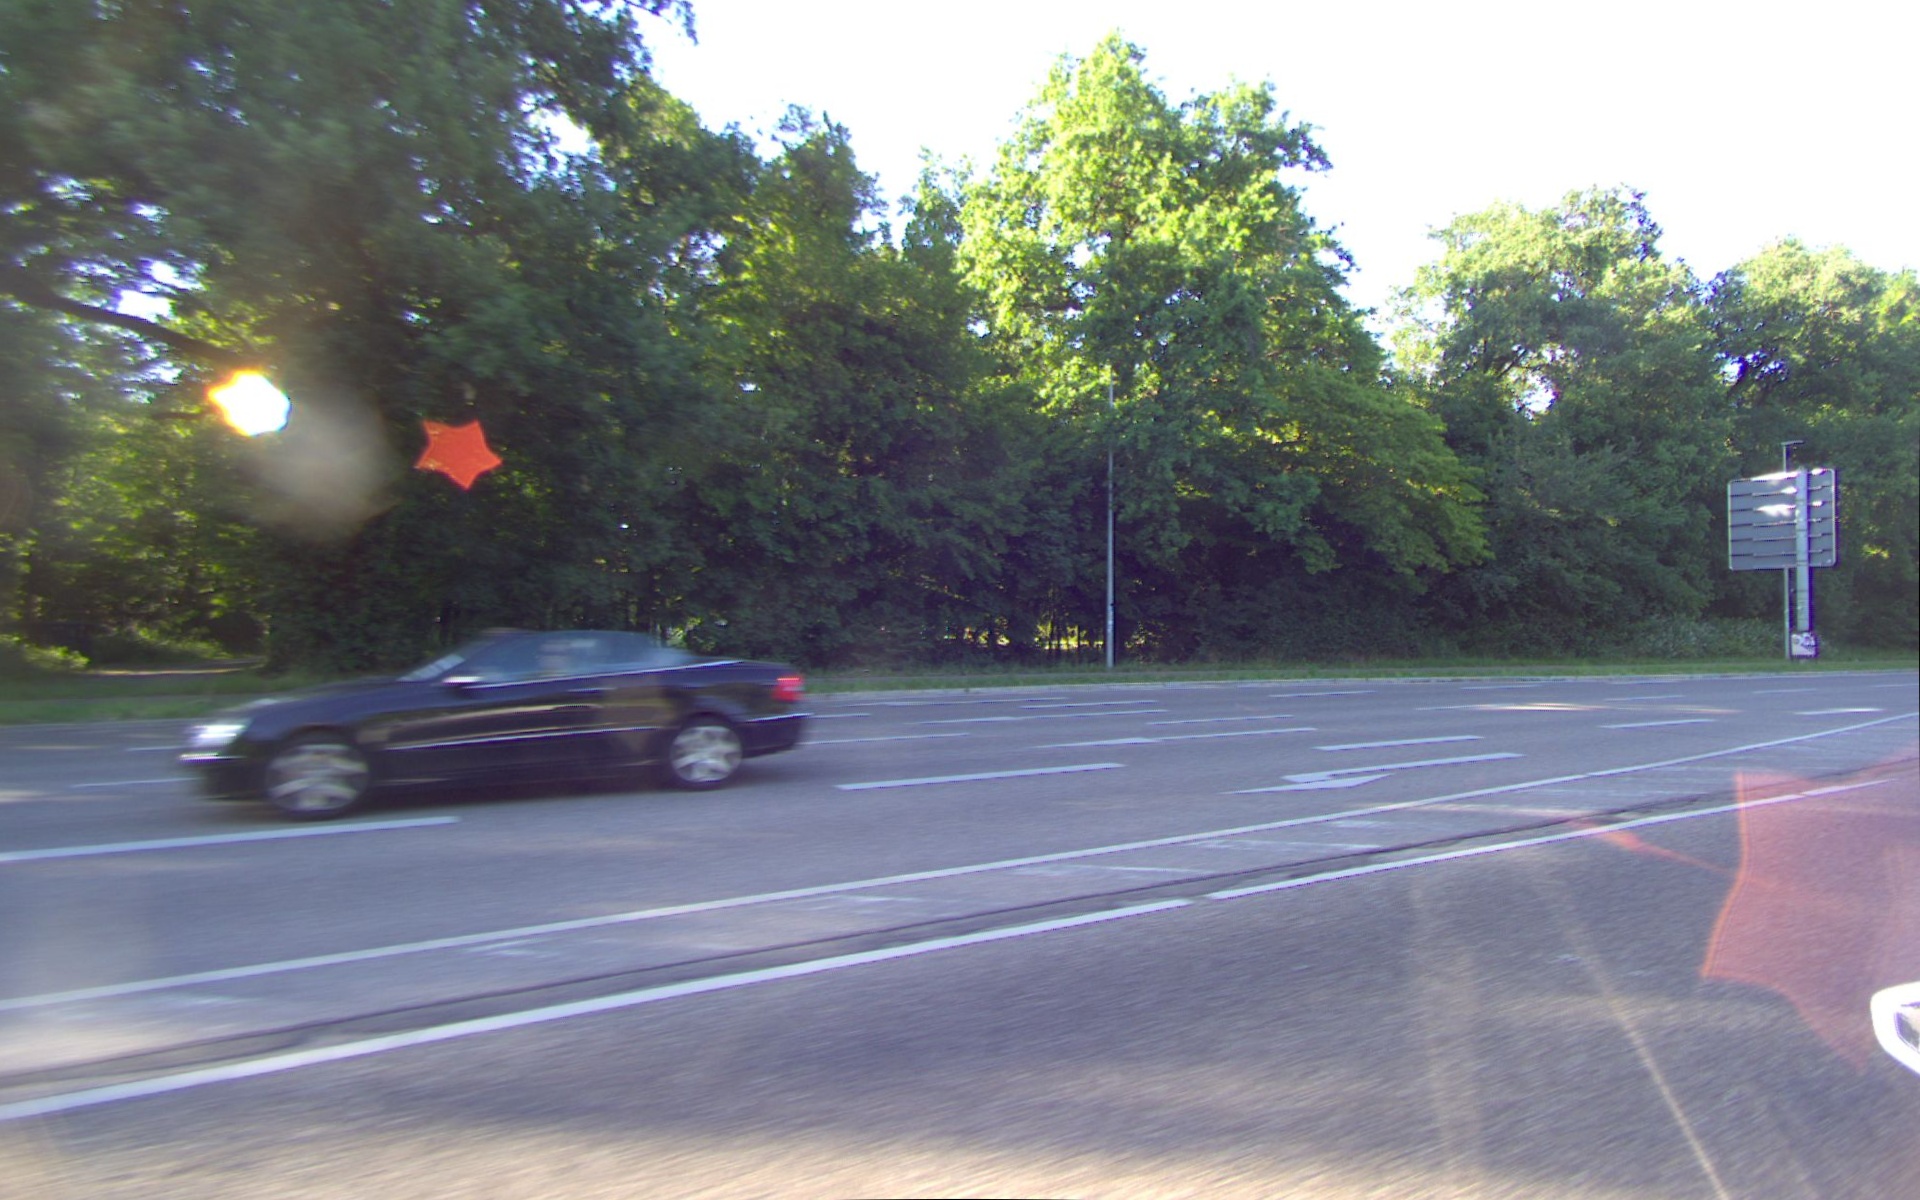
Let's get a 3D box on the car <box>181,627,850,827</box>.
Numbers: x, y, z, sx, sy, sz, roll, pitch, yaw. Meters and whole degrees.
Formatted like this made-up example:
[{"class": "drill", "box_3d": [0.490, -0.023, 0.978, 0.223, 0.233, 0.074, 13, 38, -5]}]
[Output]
[{"class": "car", "box_3d": [-3.366, 0.860, 8.279, 4.621, 1.250, 1.735, 1, -2, -32]}]
